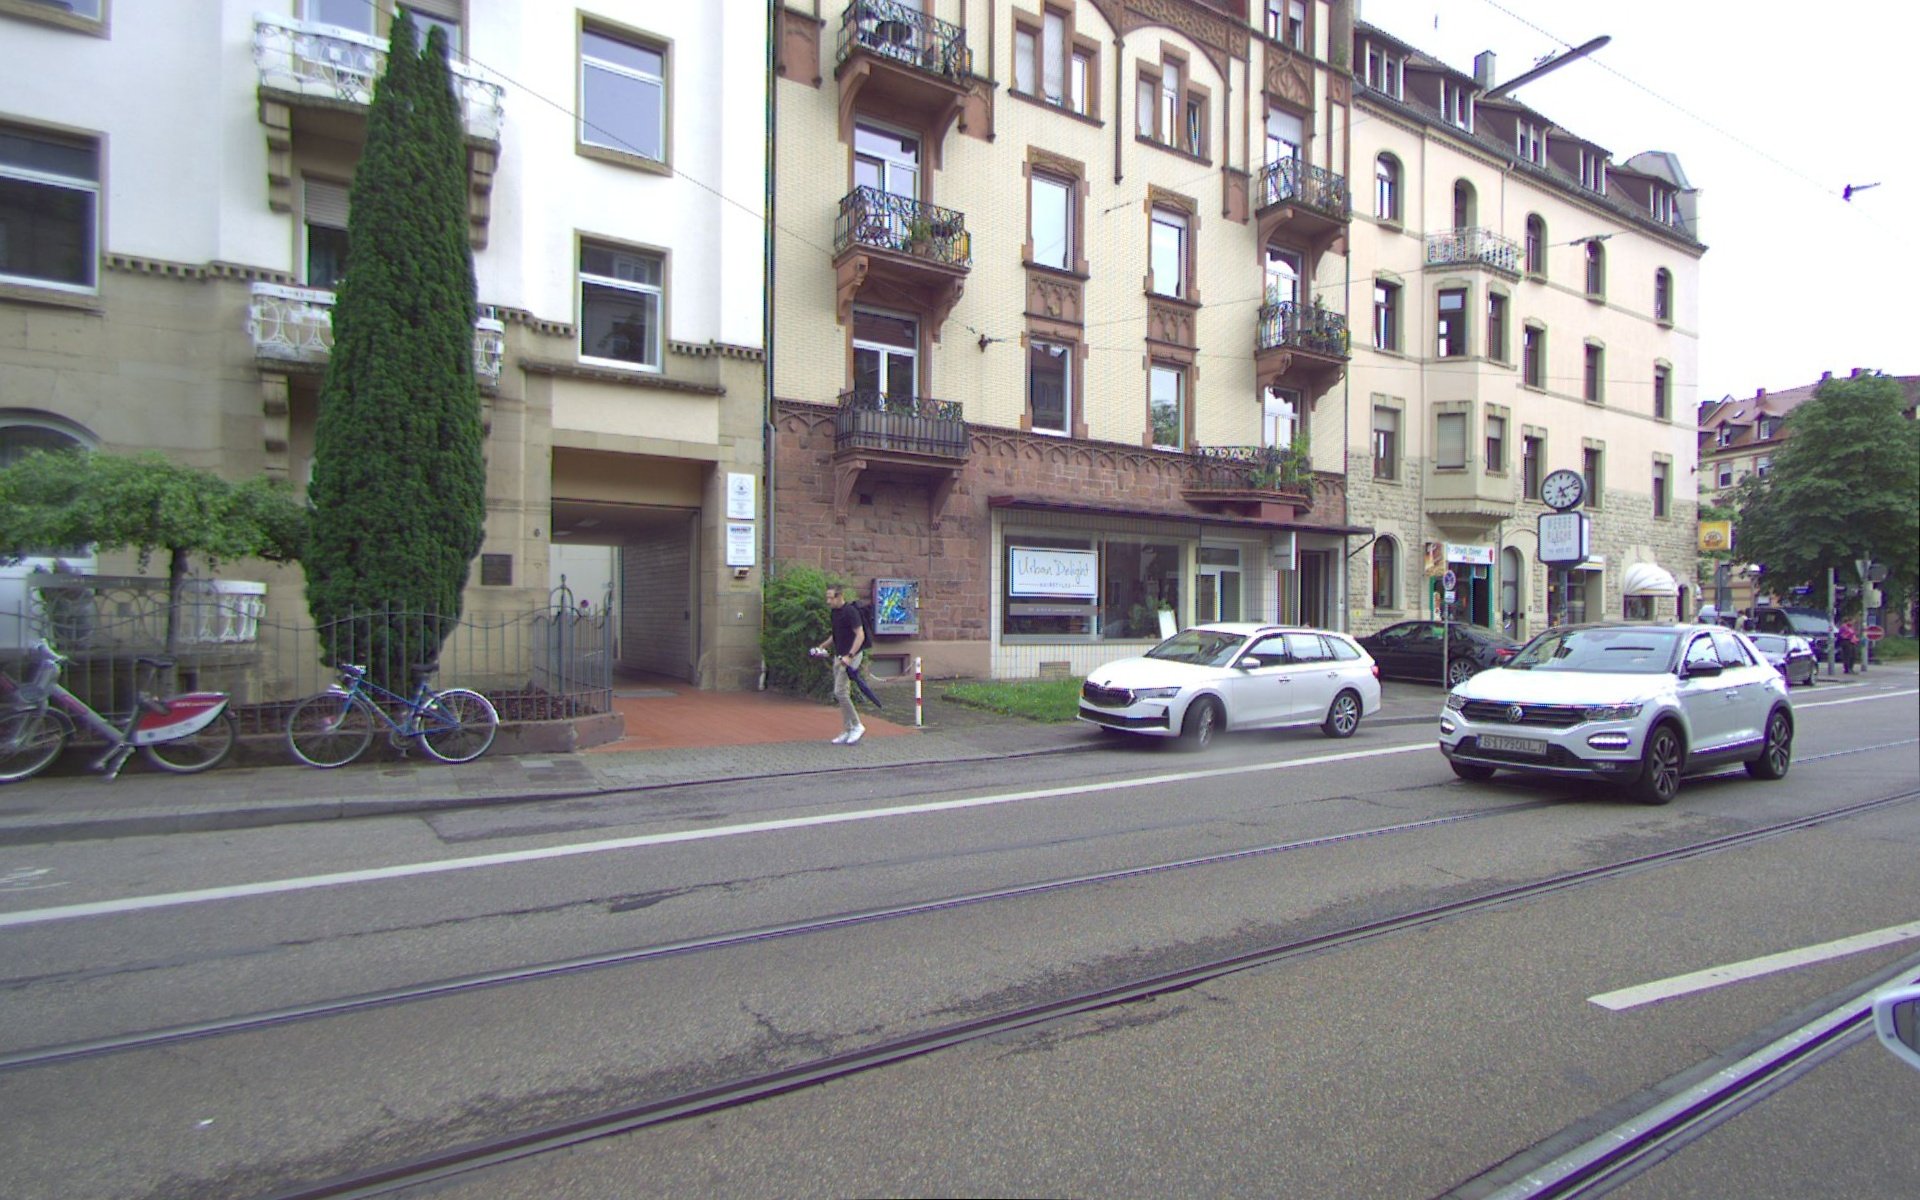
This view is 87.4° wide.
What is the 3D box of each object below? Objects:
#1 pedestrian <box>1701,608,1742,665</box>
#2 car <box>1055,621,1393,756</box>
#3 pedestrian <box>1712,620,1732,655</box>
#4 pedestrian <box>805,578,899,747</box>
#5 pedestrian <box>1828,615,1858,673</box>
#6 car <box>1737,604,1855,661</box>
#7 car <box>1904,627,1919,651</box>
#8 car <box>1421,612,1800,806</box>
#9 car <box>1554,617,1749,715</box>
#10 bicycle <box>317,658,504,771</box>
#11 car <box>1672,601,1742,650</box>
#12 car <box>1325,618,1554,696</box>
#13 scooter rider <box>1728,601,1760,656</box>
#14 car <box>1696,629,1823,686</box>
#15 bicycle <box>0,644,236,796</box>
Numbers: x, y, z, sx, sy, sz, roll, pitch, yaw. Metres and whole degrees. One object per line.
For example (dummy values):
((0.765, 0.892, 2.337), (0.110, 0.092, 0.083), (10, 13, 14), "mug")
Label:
((27.940, 1.340, 36.868), (0.826, 2.040, 0.969), (1, -1, -32), "pedestrian")
((3.572, 1.045, 13.269), (4.559, 1.504, 1.737), (1, -1, -33), "car")
((38.950, 1.915, 51.332), (0.686, 1.738, 0.552), (0, -1, 19), "pedestrian")
((-1.249, 0.703, 11.621), (0.873, 1.868, 0.664), (1, -1, -33), "pedestrian")
((29.224, 1.448, 33.259), (0.603, 1.867, 0.619), (1, -1, -34), "pedestrian")
((37.919, 1.445, 45.756), (2.142, 2.449, 5.383), (0, -1, 16), "car")
((66.074, 2.591, 67.045), (3.921, 1.617, 2.000), (0, -1, 19), "car")
((6.341, 0.913, 9.680), (3.890, 1.516, 1.688), (1, -2, -34), "car")
((13.326, 1.217, 19.227), (4.849, 1.632, 1.867), (2, -4, -41), "car")
((-5.080, 1.032, 9.336), (1.499, 0.950, 0.330), (1, -1, -33), "bicycle")
((41.417, 1.415, 55.815), (2.145, 2.561, 5.375), (0, -1, 26), "car")
((10.893, 1.234, 23.137), (1.862, 1.389, 4.394), (1, 1, -36), "car")
((29.335, 1.074, 37.592), (0.636, 2.040, 0.752), (1, -1, -29), "scooter rider")
((22.382, 1.557, 28.086), (4.087, 1.380, 1.638), (1, 1, -34), "car")
((-6.881, 0.926, 8.130), (1.614, 1.116, 0.381), (1, -1, -44), "bicycle")
